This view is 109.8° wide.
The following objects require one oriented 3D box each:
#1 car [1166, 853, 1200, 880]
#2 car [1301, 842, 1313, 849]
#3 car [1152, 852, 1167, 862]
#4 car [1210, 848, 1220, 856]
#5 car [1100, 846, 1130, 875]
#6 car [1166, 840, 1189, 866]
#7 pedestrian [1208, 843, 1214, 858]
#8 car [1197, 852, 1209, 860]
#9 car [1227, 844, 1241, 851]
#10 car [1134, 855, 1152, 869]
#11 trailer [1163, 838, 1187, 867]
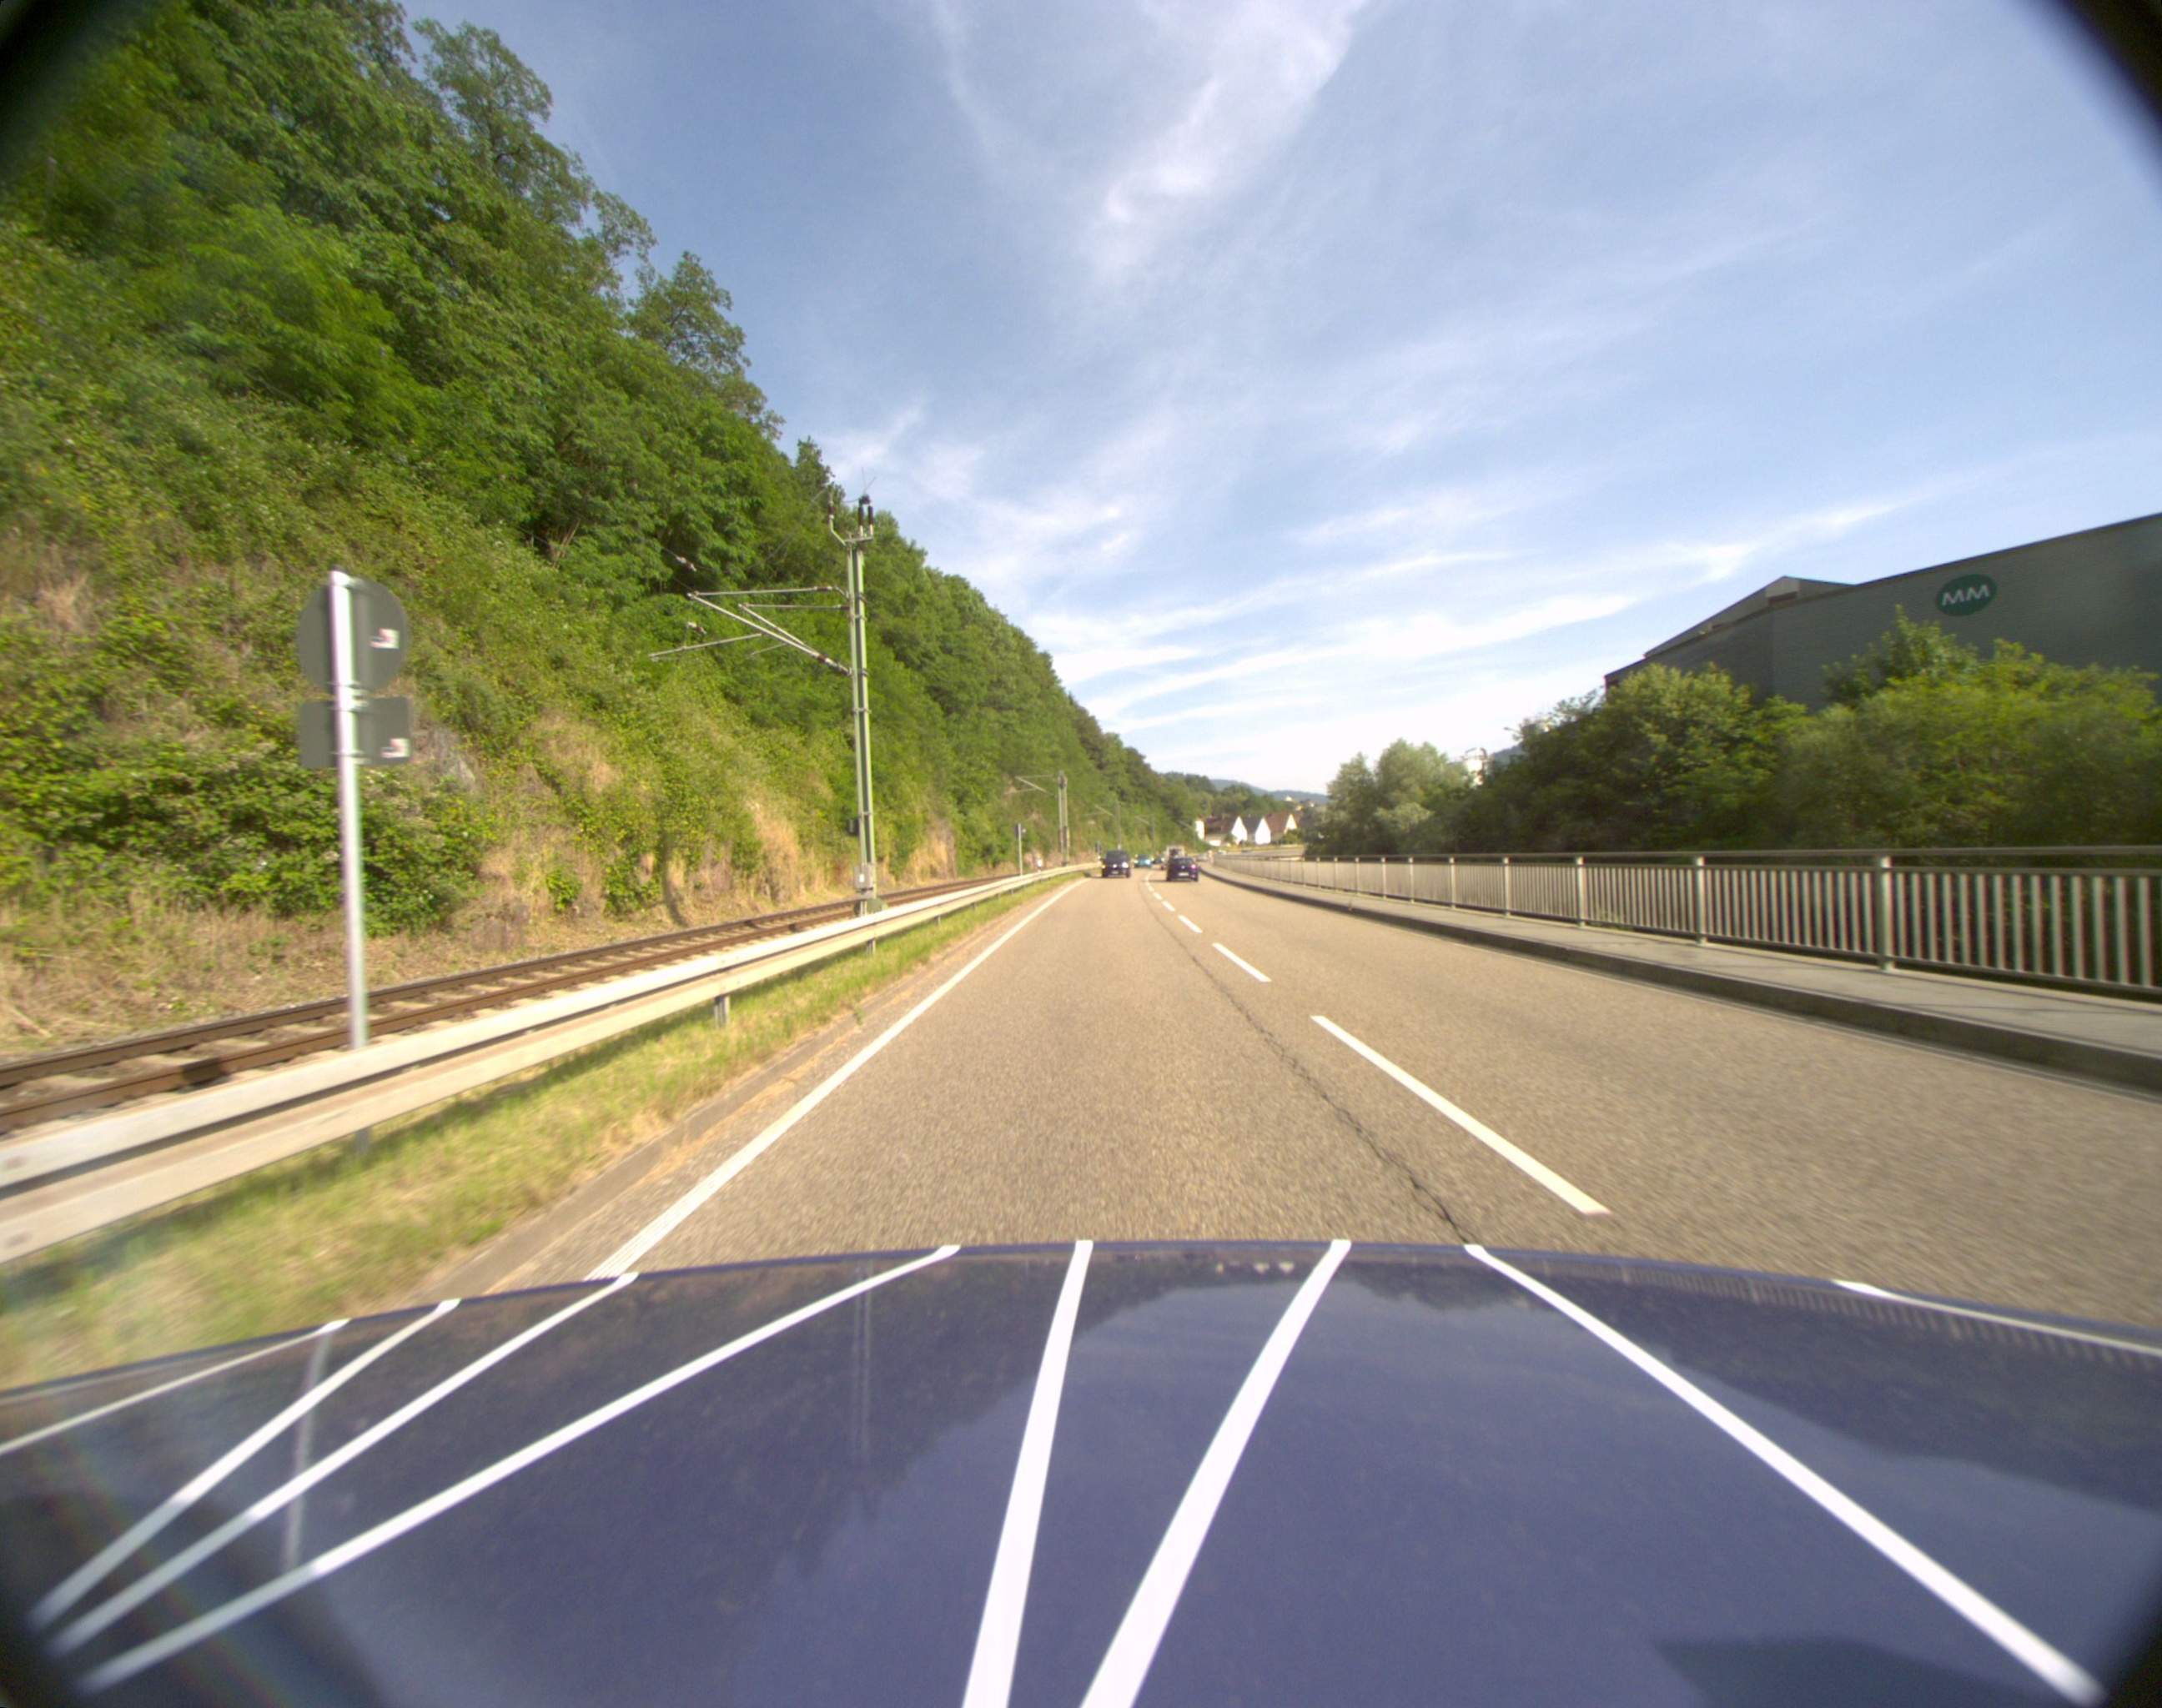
[{"bbox_3d":[5.872,0.699,44.087,1.707,1.423,4.075,-1,1,5],"label":"car"},{"bbox_3d":[60.808,-2.380,204.382,1.994,1.849,4.008,0,1,36],"label":"car"},{"bbox_3d":[11.051,0.384,106.465,1.650,1.424,3.335,1,1,13],"label":"car"},{"bbox_3d":[26.192,-0.339,148.104,1.723,1.575,3.504,1,1,13],"label":"car"},{"bbox_3d":[2.400,0.456,52.484,1.908,1.868,4.350,0,-1,5],"label":"car"},{"bbox_3d":[10.123,-0.132,79.403,2.162,2.517,6.582,-1,0,9],"label":"car"},{"bbox_3d":[16.702,-0.454,97.503,0.719,1.808,0.877,-1,1,10],"label":"pedestrian"},{"bbox_3d":[20.127,0.304,125.441,1.587,1.302,3.504,1,1,13],"label":"car"},{"bbox_3d":[36.943,-1.485,183.649,1.994,1.671,4.008,1,1,30],"label":"car"},{"bbox_3d":[7.023,0.875,85.701,1.749,1.424,3.334,1,1,10],"label":"car"},{"bbox_3d":[9.142,-0.152,73.488,2.125,2.700,5.351,-1,1,9],"label":"trailer"}]
